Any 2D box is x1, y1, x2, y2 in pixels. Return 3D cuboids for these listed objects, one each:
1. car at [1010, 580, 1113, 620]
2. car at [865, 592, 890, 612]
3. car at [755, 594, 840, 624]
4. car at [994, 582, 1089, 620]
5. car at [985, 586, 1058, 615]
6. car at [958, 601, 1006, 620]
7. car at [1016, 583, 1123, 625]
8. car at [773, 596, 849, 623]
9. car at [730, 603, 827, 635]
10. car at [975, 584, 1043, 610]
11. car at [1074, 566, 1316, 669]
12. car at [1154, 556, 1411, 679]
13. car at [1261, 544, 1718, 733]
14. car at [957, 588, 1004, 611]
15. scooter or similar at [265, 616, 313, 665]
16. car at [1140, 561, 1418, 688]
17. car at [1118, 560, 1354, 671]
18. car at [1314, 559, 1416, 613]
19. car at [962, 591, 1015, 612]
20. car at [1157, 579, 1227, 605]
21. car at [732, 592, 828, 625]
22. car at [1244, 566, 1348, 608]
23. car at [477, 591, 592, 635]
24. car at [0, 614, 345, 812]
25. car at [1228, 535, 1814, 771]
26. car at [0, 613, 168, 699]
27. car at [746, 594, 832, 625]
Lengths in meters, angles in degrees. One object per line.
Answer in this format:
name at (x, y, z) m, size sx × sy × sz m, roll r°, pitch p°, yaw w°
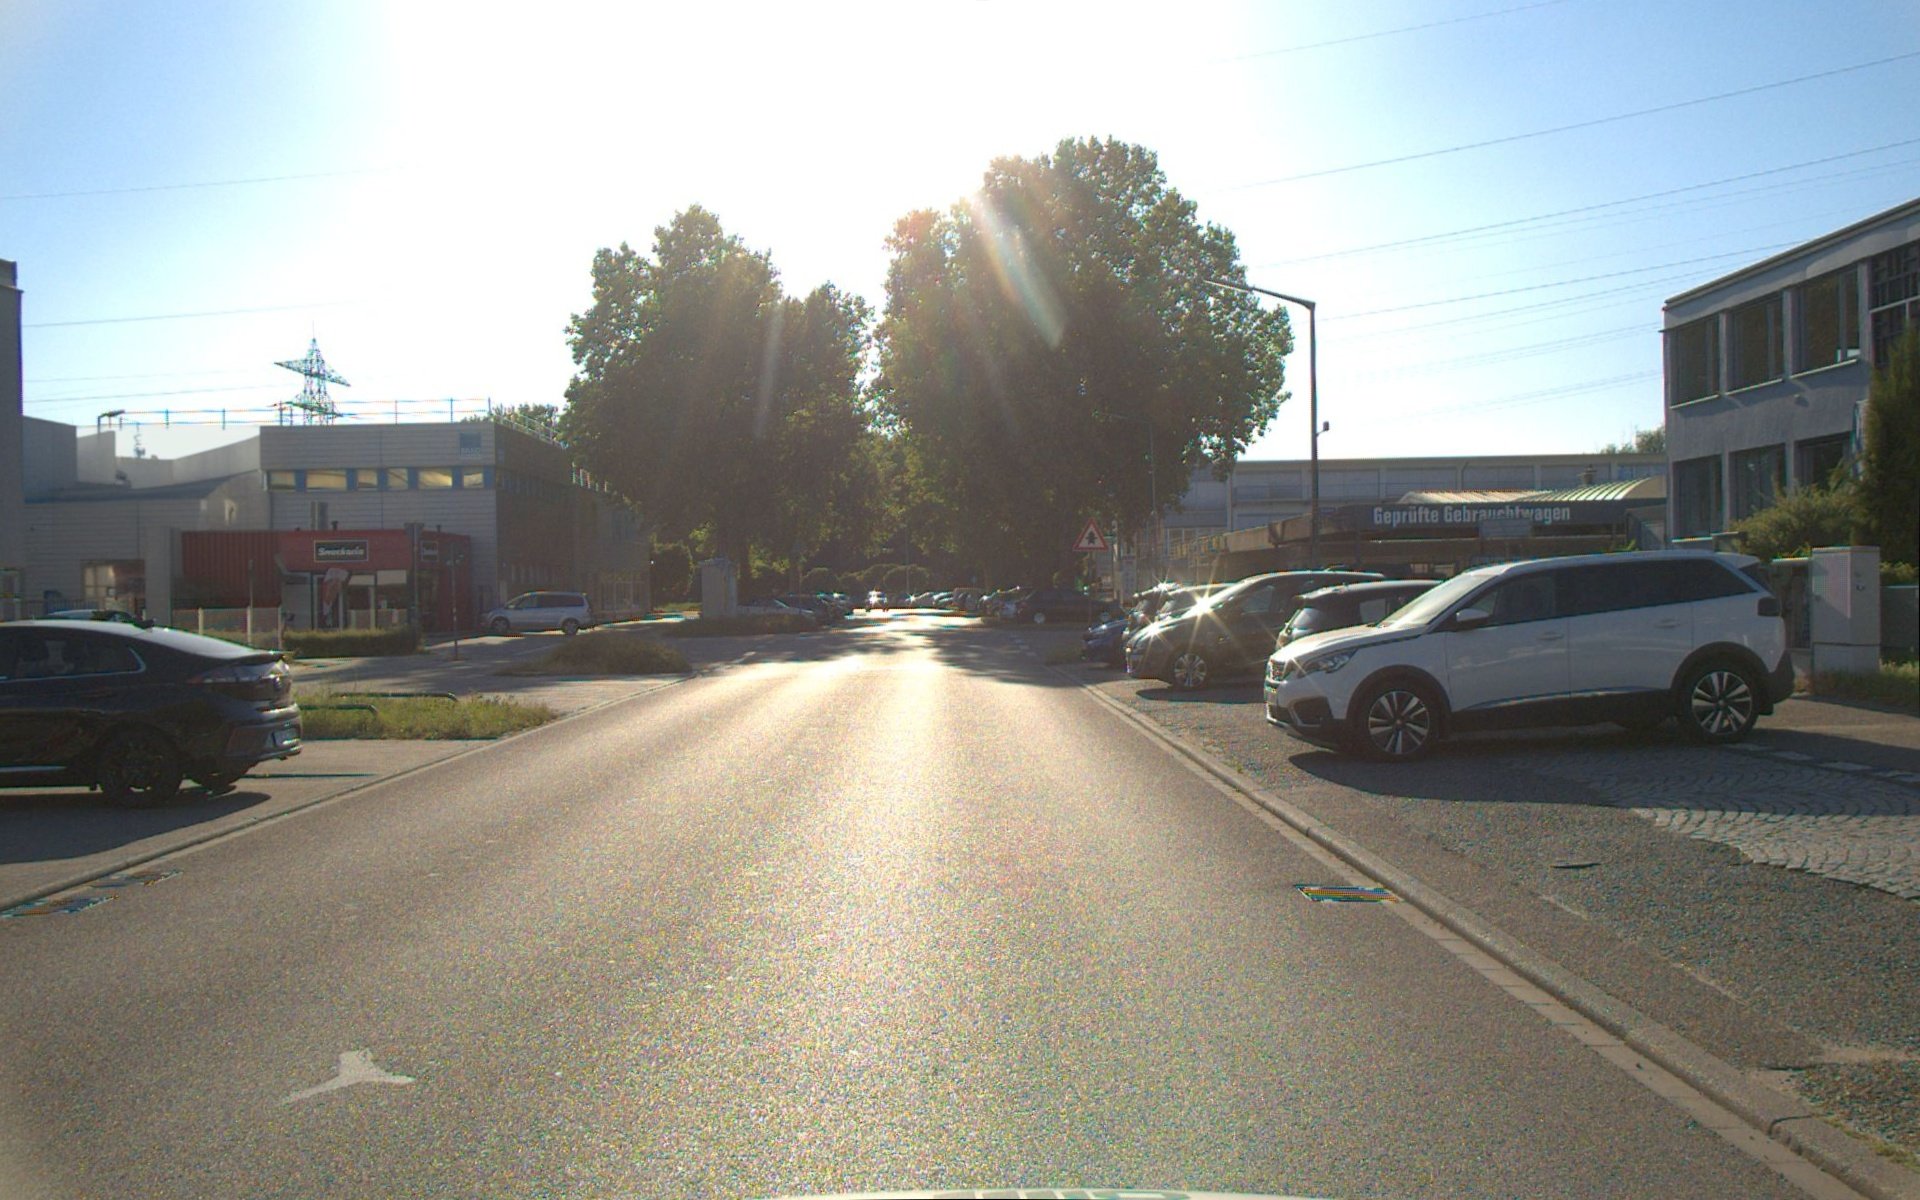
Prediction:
car at (3.999, -0.001, 65.525) m, size 3.906 × 1.440 × 2.000 m, roll -2°, pitch 0°, yaw -1°
car at (-7.059, 0.138, 141.577) m, size 1.953 × 1.637 × 3.999 m, roll 1°, pitch 0°, yaw -1°
car at (-8.627, 0.469, 87.948) m, size 4.324 × 1.543 × 2.000 m, roll 0°, pitch 0°, yaw 0°
car at (3.438, 0.036, 70.567) m, size 3.906 × 1.440 × 1.826 m, roll -2°, pitch 0°, yaw -1°
car at (3.404, 0.037, 91.447) m, size 3.906 × 1.440 × 1.826 m, roll -2°, pitch 0°, yaw -1°
car at (1.814, 0.877, 138.070) m, size 3.906 × 1.440 × 1.826 m, roll -2°, pitch 0°, yaw -1°
car at (4.163, 0.144, 63.239) m, size 3.906 × 1.440 × 2.000 m, roll -2°, pitch 0°, yaw -1°
car at (-8.865, 0.557, 98.793) m, size 4.324 × 1.543 × 2.000 m, roll 0°, pitch 0°, yaw 0°
car at (-8.253, 0.845, 75.250) m, size 4.330 × 1.427 × 1.997 m, roll 0°, pitch 0°, yaw -6°
car at (2.852, -0.168, 97.416) m, size 3.906 × 1.405 × 1.826 m, roll -2°, pitch 0°, yaw -1°
car at (4.624, 0.334, 32.895) m, size 4.436 × 1.702 × 1.752 m, roll -4°, pitch 0°, yaw -5°
car at (5.421, 0.283, 28.137) m, size 3.907 × 1.680 × 1.801 m, roll -5°, pitch 0°, yaw -1°
car at (5.520, 0.377, 17.623) m, size 4.163 × 1.651 × 1.920 m, roll -3°, pitch 0°, yaw -2°
car at (1.757, -0.012, 142.019) m, size 3.906 × 1.808 × 1.826 m, roll -2°, pitch 0°, yaw -1°
scooter or similar at (-17.056, 1.015, 42.014) m, size 1.365 × 1.221 × 0.621 m, roll 0°, pitch 0°, yaw 43°
car at (4.728, 0.367, 25.041) m, size 3.903 × 1.641 × 2.001 m, roll -3°, pitch 0°, yaw 6°
car at (5.012, 0.276, 30.350) m, size 3.909 × 1.681 × 1.741 m, roll -4°, pitch 0°, yaw -4°
car at (14.620, -0.478, 59.584) m, size 1.905 × 1.801 × 3.975 m, roll -3°, pitch -3°, yaw 42°
car at (2.137, 0.107, 126.018) m, size 3.906 × 1.440 × 1.826 m, roll -2°, pitch 0°, yaw -1°
car at (14.045, -0.468, 100.247) m, size 3.907 × 1.573 × 1.999 m, roll 0°, pitch 0°, yaw -2°
car at (-8.392, 0.394, 77.568) m, size 4.327 × 1.543 × 1.999 m, roll 0°, pitch 0°, yaw -3°
car at (13.981, -0.540, 69.061) m, size 3.907 × 1.730 × 1.999 m, roll 0°, pitch 0°, yaw -2°
car at (-17.608, 0.514, 68.479) m, size 4.556 × 1.771 × 1.991 m, roll 0°, pitch 0°, yaw -17°
car at (-7.632, 0.884, 13.763) m, size 4.228 × 1.485 × 2.200 m, roll 0°, pitch 0°, yaw -4°
car at (4.928, 0.440, 15.030) m, size 4.466 × 1.625 × 2.200 m, roll -5°, pitch 0°, yaw -4°
car at (-19.932, 1.213, 37.417) m, size 1.953 × 1.604 × 4.341 m, roll 0°, pitch 3°, yaw -1°
car at (-8.728, 0.463, 84.800) m, size 4.329 × 1.543 × 1.998 m, roll 0°, pitch 0°, yaw -5°
